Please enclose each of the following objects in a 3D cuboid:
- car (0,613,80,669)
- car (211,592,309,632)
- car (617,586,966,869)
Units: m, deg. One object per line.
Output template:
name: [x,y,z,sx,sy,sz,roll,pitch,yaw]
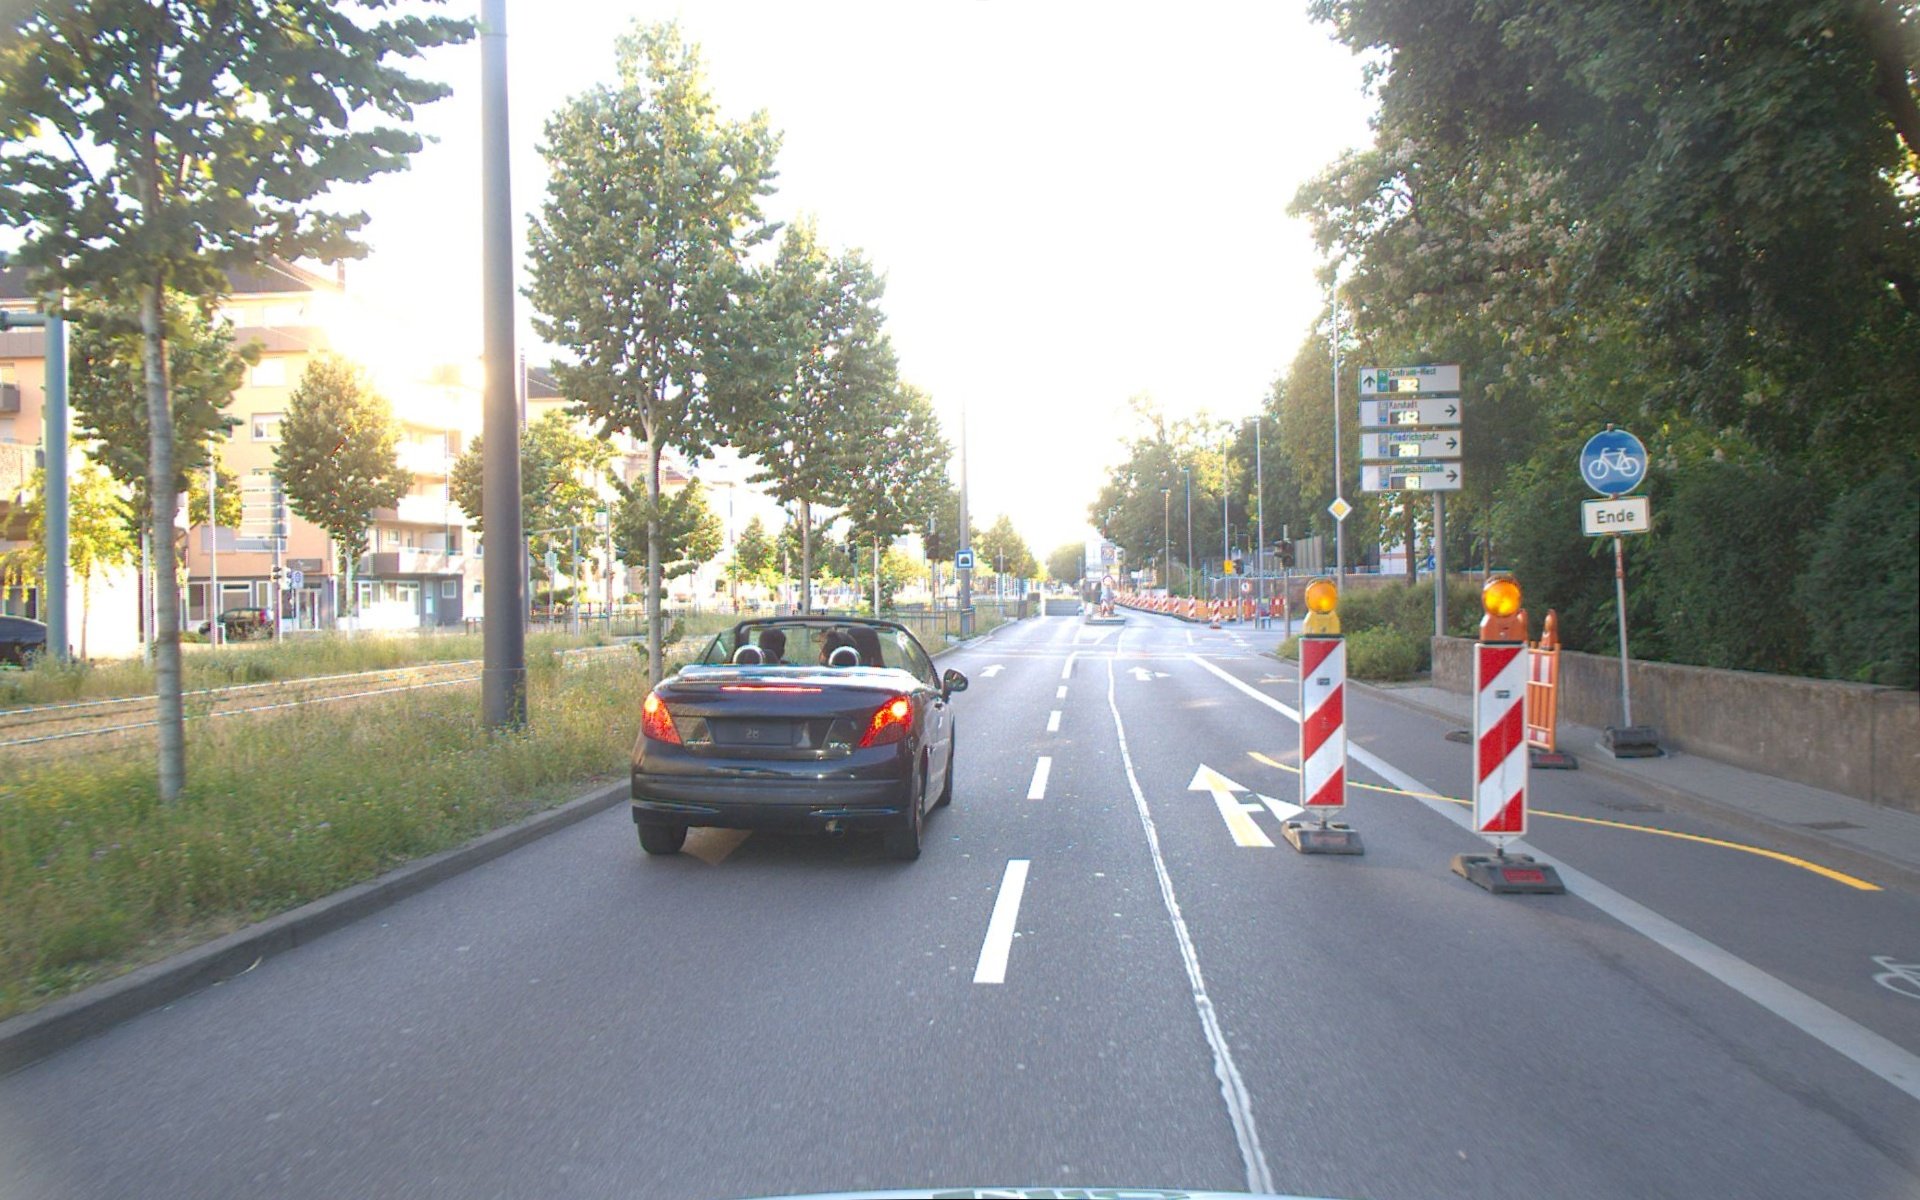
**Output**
car: [-26.353,1.146,45.374,3.692,1.475,1.720,-1,0,-38]
car: [-34.768,0.605,82.241,3.851,1.878,2.192,-1,0,3]
car: [-0.906,0.667,10.860,1.683,1.475,3.903,1,1,3]
